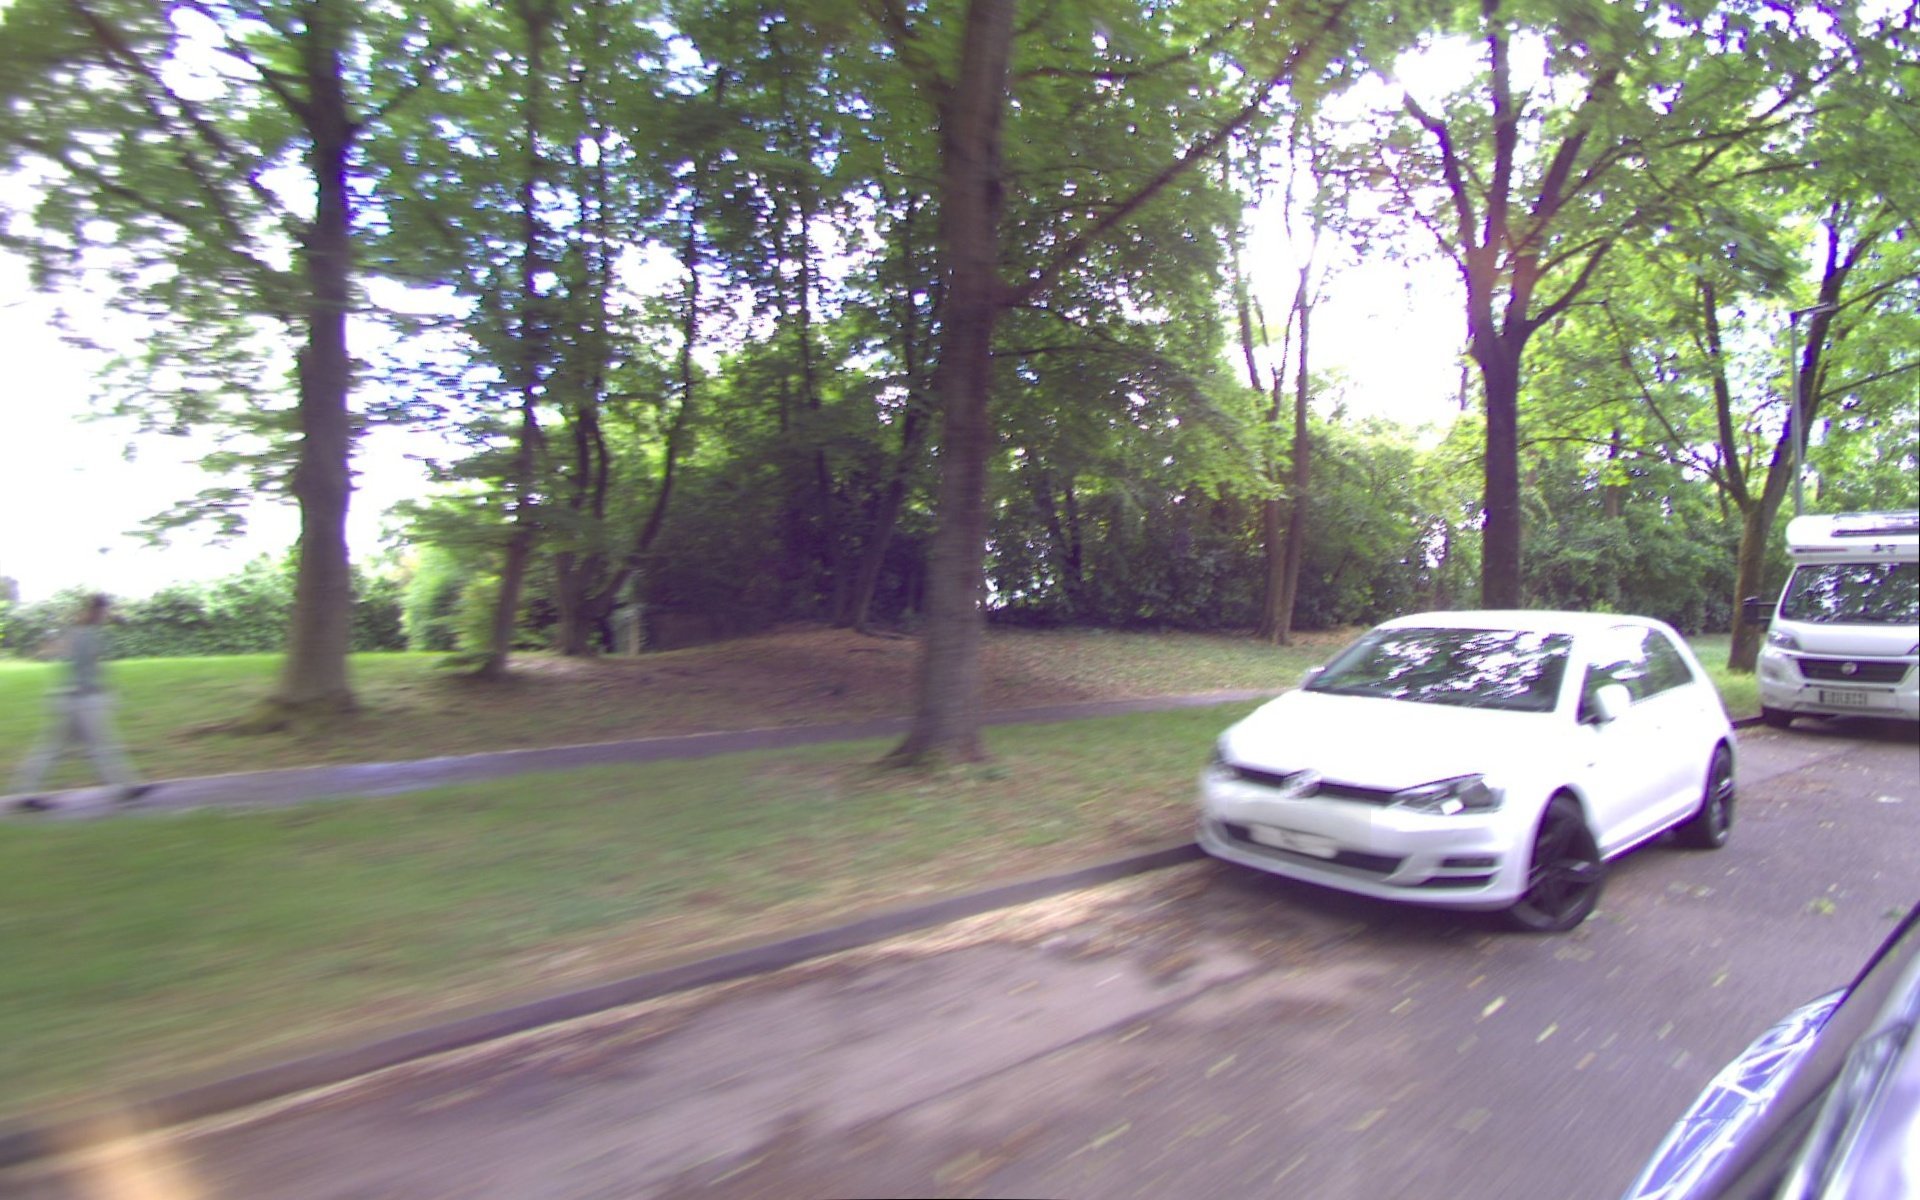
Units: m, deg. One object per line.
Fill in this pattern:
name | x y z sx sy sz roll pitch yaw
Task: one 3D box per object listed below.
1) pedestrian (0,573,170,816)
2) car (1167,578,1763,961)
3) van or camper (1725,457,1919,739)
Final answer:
pedestrian | -6.484 0.658 7.514 0.580 1.673 0.860 -2 -2 40
car | 3.157 0.689 5.948 4.034 1.501 1.691 1 -1 -41
van or camper | 13.012 0.003 13.303 7.250 3.018 2.432 0 -1 -34
